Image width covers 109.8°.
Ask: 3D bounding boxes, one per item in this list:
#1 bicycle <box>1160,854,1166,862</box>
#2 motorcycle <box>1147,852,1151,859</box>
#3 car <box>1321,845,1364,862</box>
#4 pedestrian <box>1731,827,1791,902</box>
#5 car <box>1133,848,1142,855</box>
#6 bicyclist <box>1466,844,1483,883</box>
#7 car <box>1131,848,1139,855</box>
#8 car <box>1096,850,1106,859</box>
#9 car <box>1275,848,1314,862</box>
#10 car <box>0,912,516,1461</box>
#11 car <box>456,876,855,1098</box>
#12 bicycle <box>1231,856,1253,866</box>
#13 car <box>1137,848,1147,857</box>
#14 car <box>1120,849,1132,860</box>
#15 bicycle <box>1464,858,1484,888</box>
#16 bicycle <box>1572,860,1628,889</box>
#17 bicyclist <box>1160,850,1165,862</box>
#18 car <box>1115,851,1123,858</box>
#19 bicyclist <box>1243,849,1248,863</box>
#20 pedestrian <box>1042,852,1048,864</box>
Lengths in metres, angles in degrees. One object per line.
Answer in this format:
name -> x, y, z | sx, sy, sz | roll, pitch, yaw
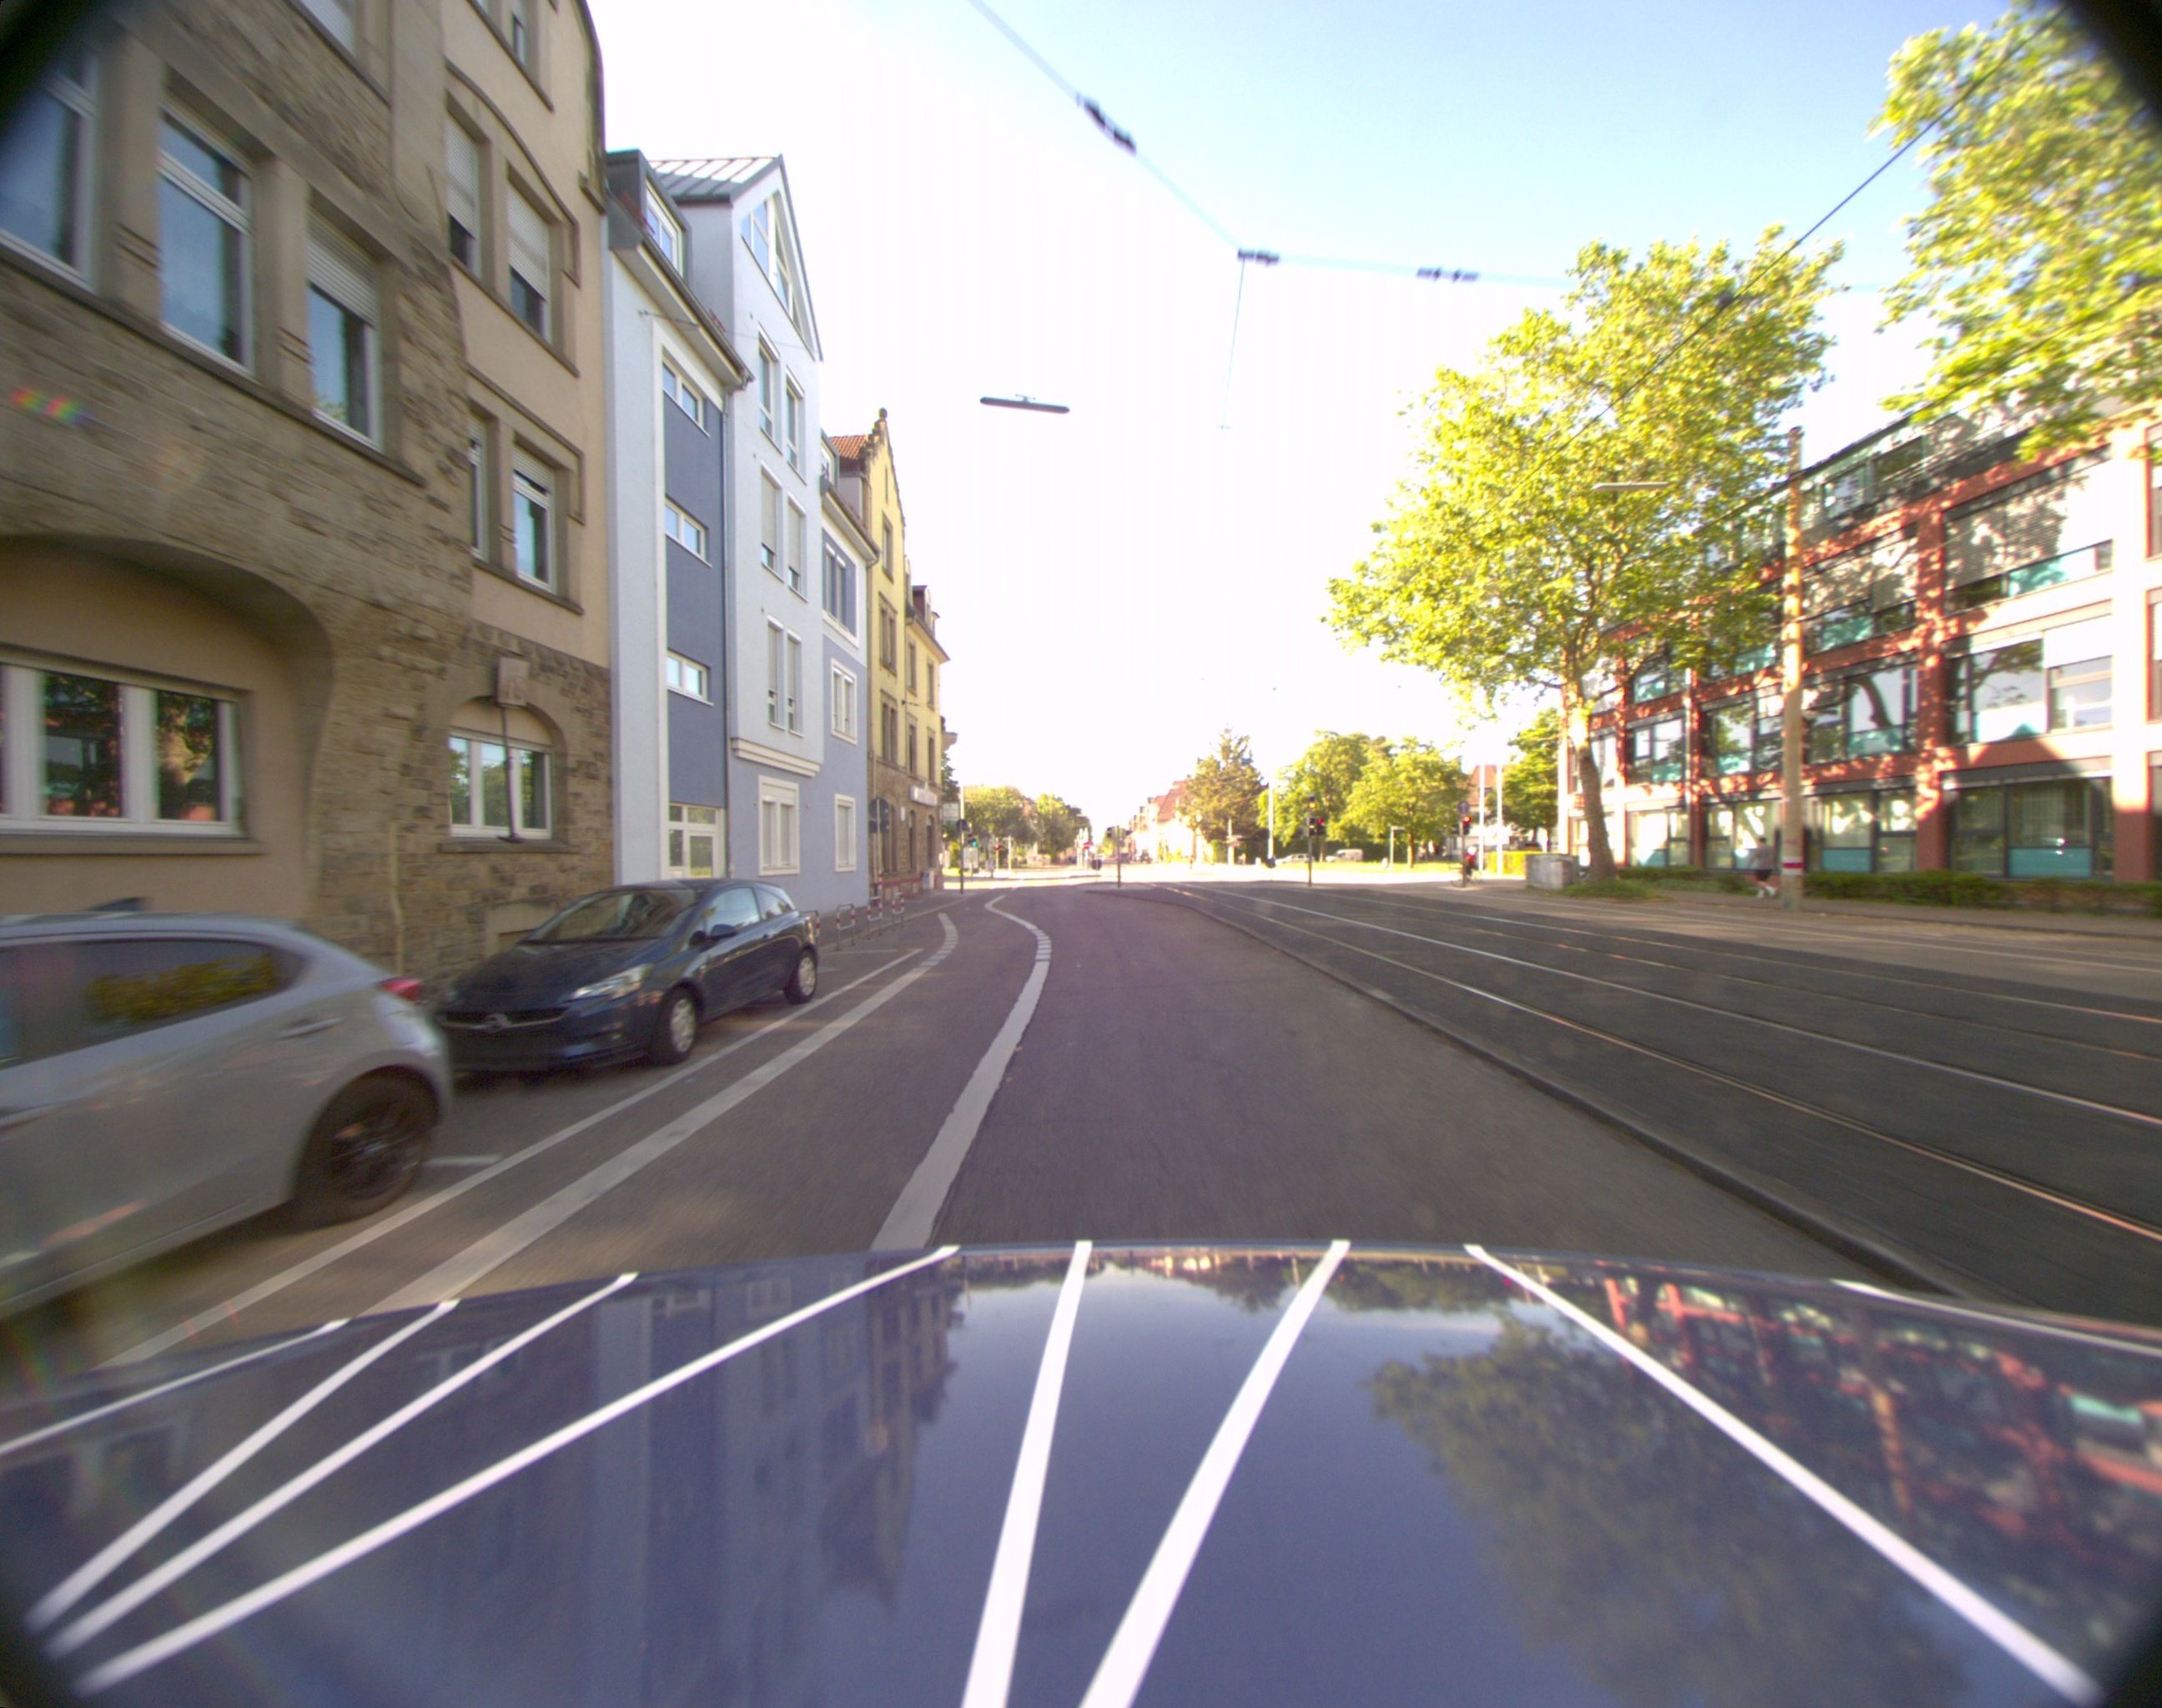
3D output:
bicycle -> 10.852, 0.549, 100.639 | 0.588, 1.107, 1.826 | 0, 0, -1
motorcycle -> 11.730, 0.234, 130.758 | 0.605, 1.040, 2.438 | -3, 0, 4
car -> 29.588, -0.062, 86.087 | 4.311, 1.856, 1.817 | -2, 1, 4
pedestrian -> 18.970, 0.287, 21.211 | 0.913, 2.002, 0.780 | -3, 0, -7
car -> 13.468, -0.486, 181.409 | 1.923, 1.555, 4.002 | -3, 0, 6
bicyclist -> 17.295, 0.414, 33.422 | 0.605, 1.682, 0.934 | -3, 0, 27
car -> 13.957, -0.719, 196.232 | 1.923, 1.705, 4.001 | -3, 0, 3
car -> 4.531, 0.103, 168.432 | 1.923, 1.705, 4.001 | -3, 0, 4
car -> 23.537, 0.083, 83.839 | 3.994, 1.425, 1.817 | -1, 0, 7
car -> -4.175, 1.126, 2.165 | 1.757, 1.492, 4.196 | -3, 0, 3
car -> -3.783, 1.059, 7.697 | 1.659, 1.474, 4.000 | -2, 0, 1
bicycle -> 17.968, 0.805, 84.908 | 2.284, 1.111, 0.930 | -1, 1, 9
car -> 12.935, -0.259, 160.312 | 1.923, 1.705, 4.001 | -3, 0, 3
car -> 8.342, 0.134, 139.598 | 2.024, 2.001, 5.253 | 0, -1, 5
bicycle -> 17.274, 0.810, 33.425 | 0.632, 1.123, 2.038 | -6, 1, 27
bicycle -> 17.551, 0.682, 25.731 | 0.522, 0.901, 1.541 | -2, 1, -22
bicyclist -> 10.838, 0.270, 100.688 | 0.588, 1.701, 0.901 | 0, 0, -1
car -> 9.823, 0.079, 196.027 | 1.923, 1.705, 4.002 | -3, 0, 6
bicyclist -> 18.316, 0.235, 84.662 | 0.559, 1.613, 0.899 | -1, 1, 10
pedestrian -> -4.812, 0.522, 102.541 | 0.655, 1.664, 0.943 | 0, 1, 4
